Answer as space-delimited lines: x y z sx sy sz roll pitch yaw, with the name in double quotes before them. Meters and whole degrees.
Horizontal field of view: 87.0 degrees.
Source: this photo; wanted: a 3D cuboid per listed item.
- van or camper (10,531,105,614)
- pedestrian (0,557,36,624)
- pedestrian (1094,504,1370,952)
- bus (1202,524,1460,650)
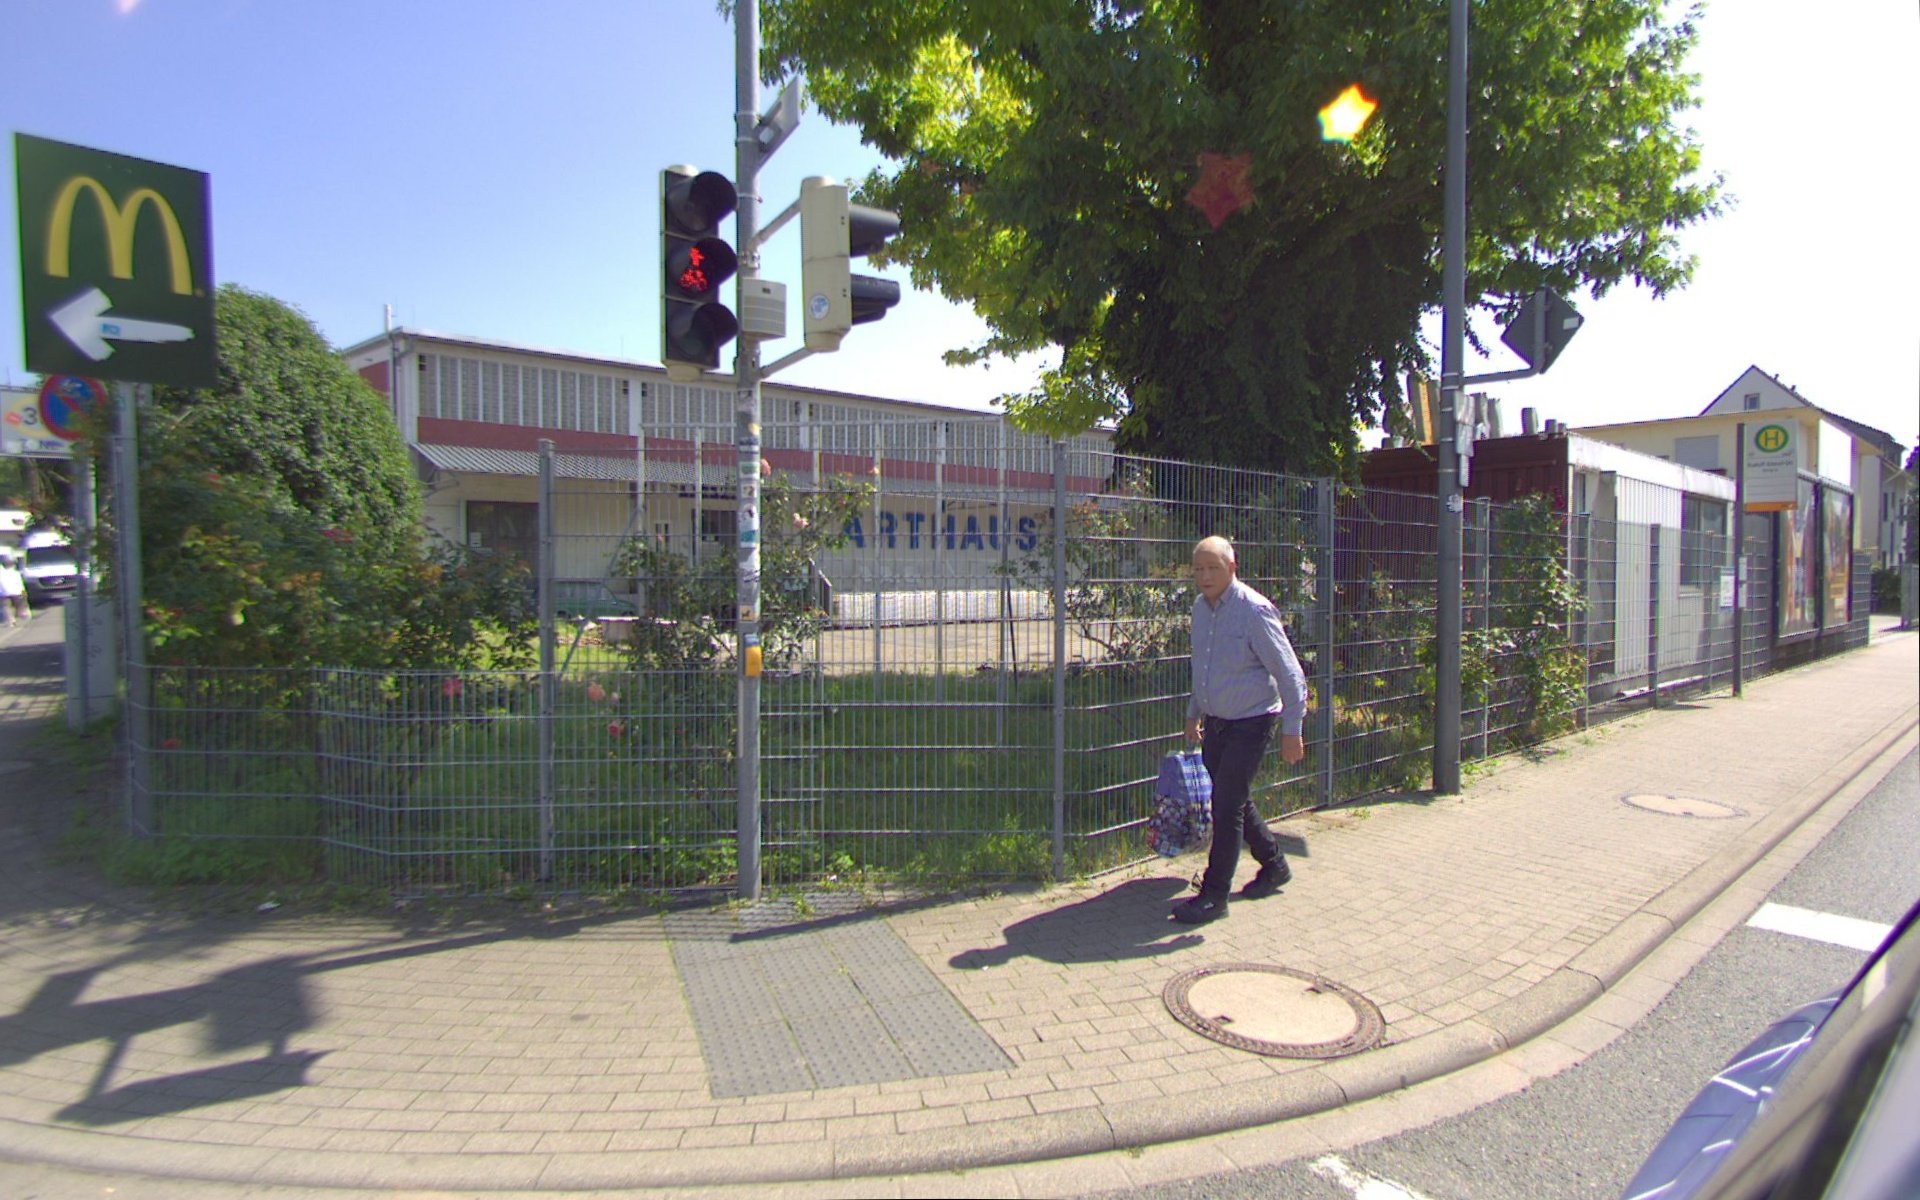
"van or camper" -32.465 -0.964 36.594 2.304 2.713 6.734 0 1 -40
"pedestrian" -23.308 -0.236 24.845 0.868 1.599 0.789 0 0 -40
"pedestrian" 1.201 0.476 4.475 0.872 1.720 0.813 0 2 -43
"bus" 11.252 -0.567 29.911 10.091 3.210 2.570 -3 3 -41
